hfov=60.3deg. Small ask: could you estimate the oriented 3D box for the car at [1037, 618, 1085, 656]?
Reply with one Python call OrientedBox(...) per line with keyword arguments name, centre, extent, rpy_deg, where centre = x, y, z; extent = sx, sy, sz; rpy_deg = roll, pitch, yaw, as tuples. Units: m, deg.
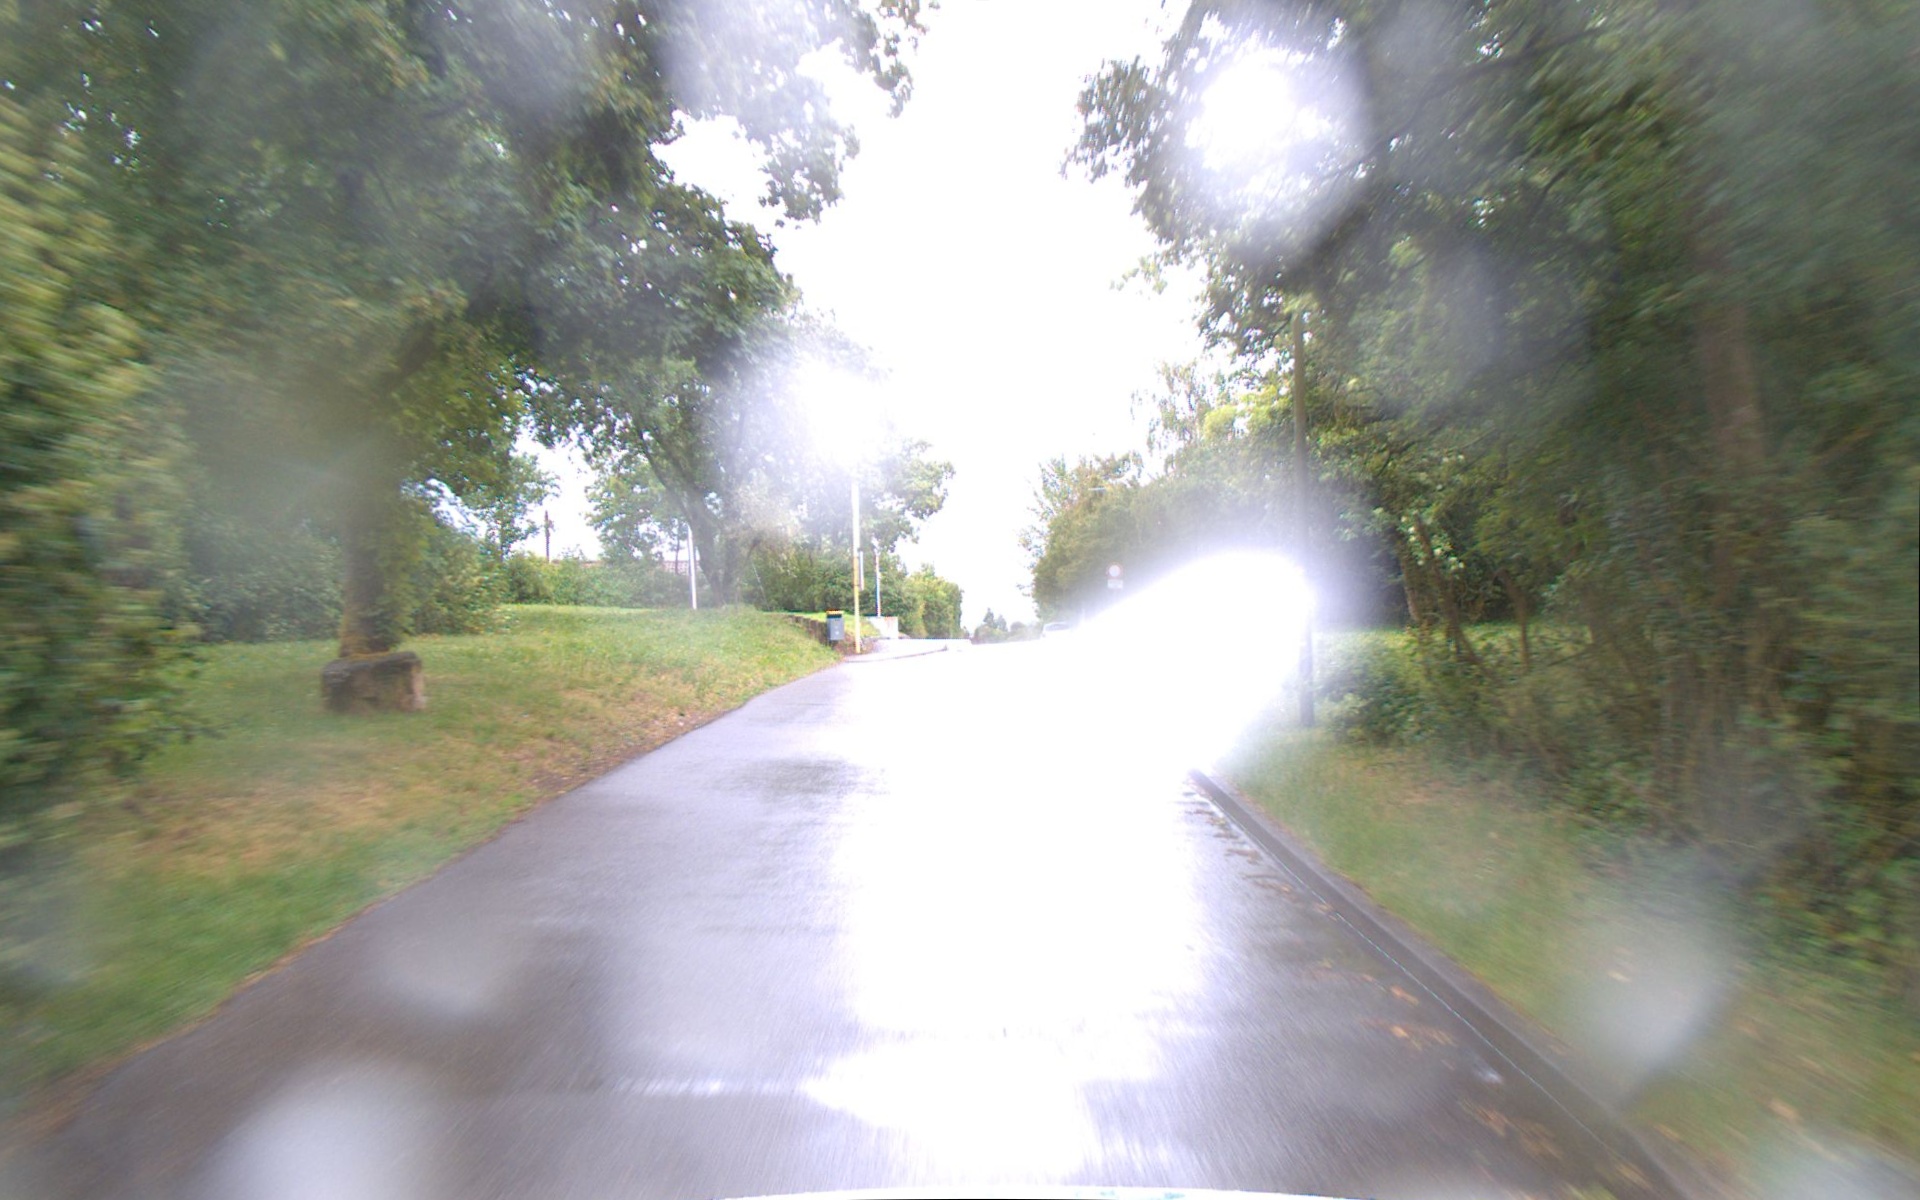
OrientedBox(name="car", centre=(4.835, 1.792, 78.774), extent=(1.951, 1.611, 4.002), rpy_deg=(-2, -4, 7))
